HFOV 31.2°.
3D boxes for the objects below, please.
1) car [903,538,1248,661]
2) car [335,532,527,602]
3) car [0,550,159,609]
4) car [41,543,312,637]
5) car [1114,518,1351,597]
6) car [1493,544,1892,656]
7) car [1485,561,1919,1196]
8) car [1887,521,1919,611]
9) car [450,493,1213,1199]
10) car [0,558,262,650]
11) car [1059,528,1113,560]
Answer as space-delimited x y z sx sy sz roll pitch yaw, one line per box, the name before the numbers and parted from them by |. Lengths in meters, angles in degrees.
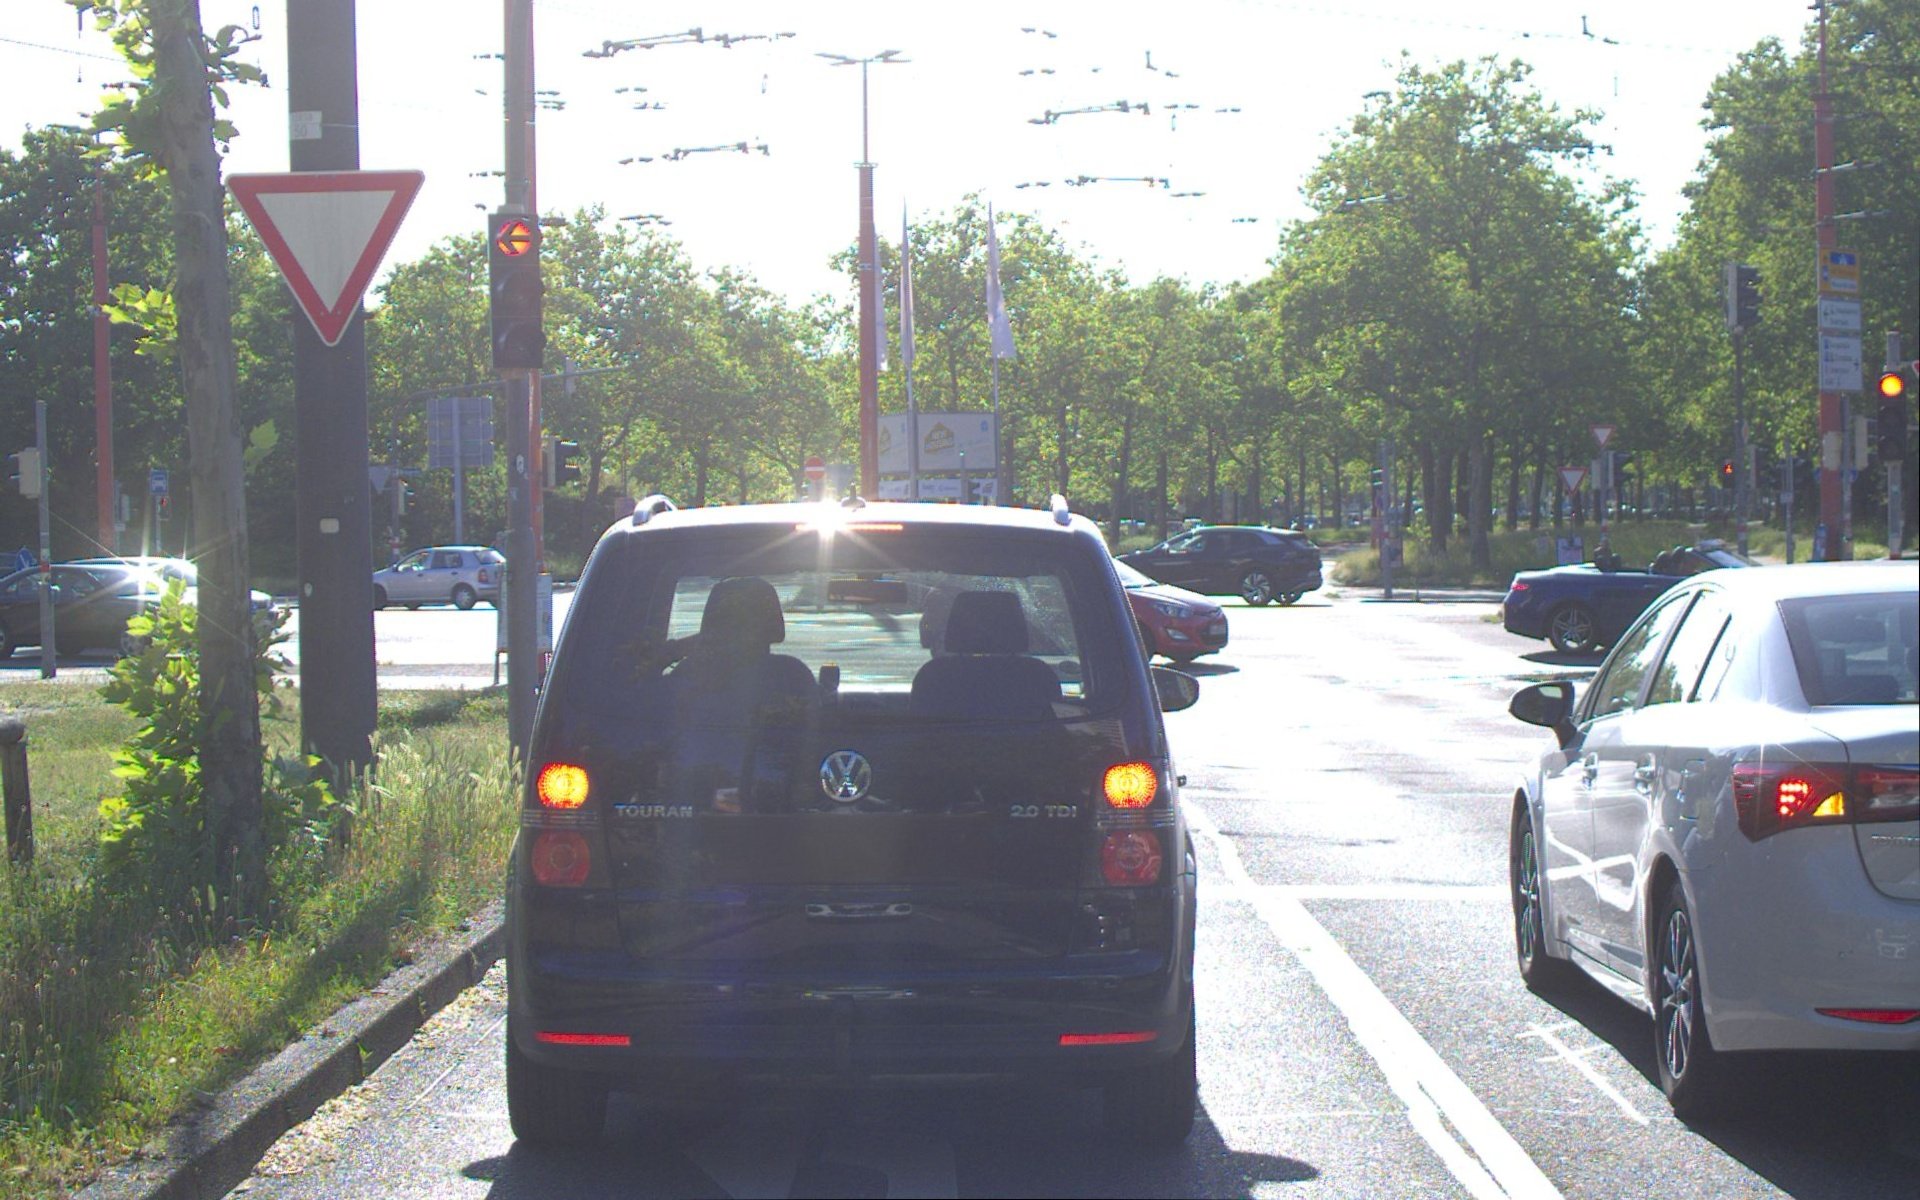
car | 1.461 -0.024 43.556 3.993 1.489 1.769 0 1 27
car | -12.328 -0.772 80.111 3.993 1.575 1.997 0 1 27
car | -24.885 -0.583 96.237 4.452 1.590 2.000 -1 1 -25
car | -12.782 -0.175 56.044 4.226 1.474 1.751 0 1 30
car | 5.619 -0.870 70.976 4.459 1.590 1.997 0 1 26
car | 9.291 -0.014 43.693 4.660 1.358 1.769 0 1 29
car | 2.689 0.627 10.077 1.715 1.449 4.144 0 1 1
car | 18.884 -0.621 60.917 4.459 1.590 1.997 0 1 26
car | -0.315 0.544 9.876 1.737 1.635 4.000 0 1 -1
car | -12.704 0.044 51.483 4.311 1.322 1.758 0 1 30
car | 6.666 -2.964 181.027 1.994 1.679 4.826 0 1 12
